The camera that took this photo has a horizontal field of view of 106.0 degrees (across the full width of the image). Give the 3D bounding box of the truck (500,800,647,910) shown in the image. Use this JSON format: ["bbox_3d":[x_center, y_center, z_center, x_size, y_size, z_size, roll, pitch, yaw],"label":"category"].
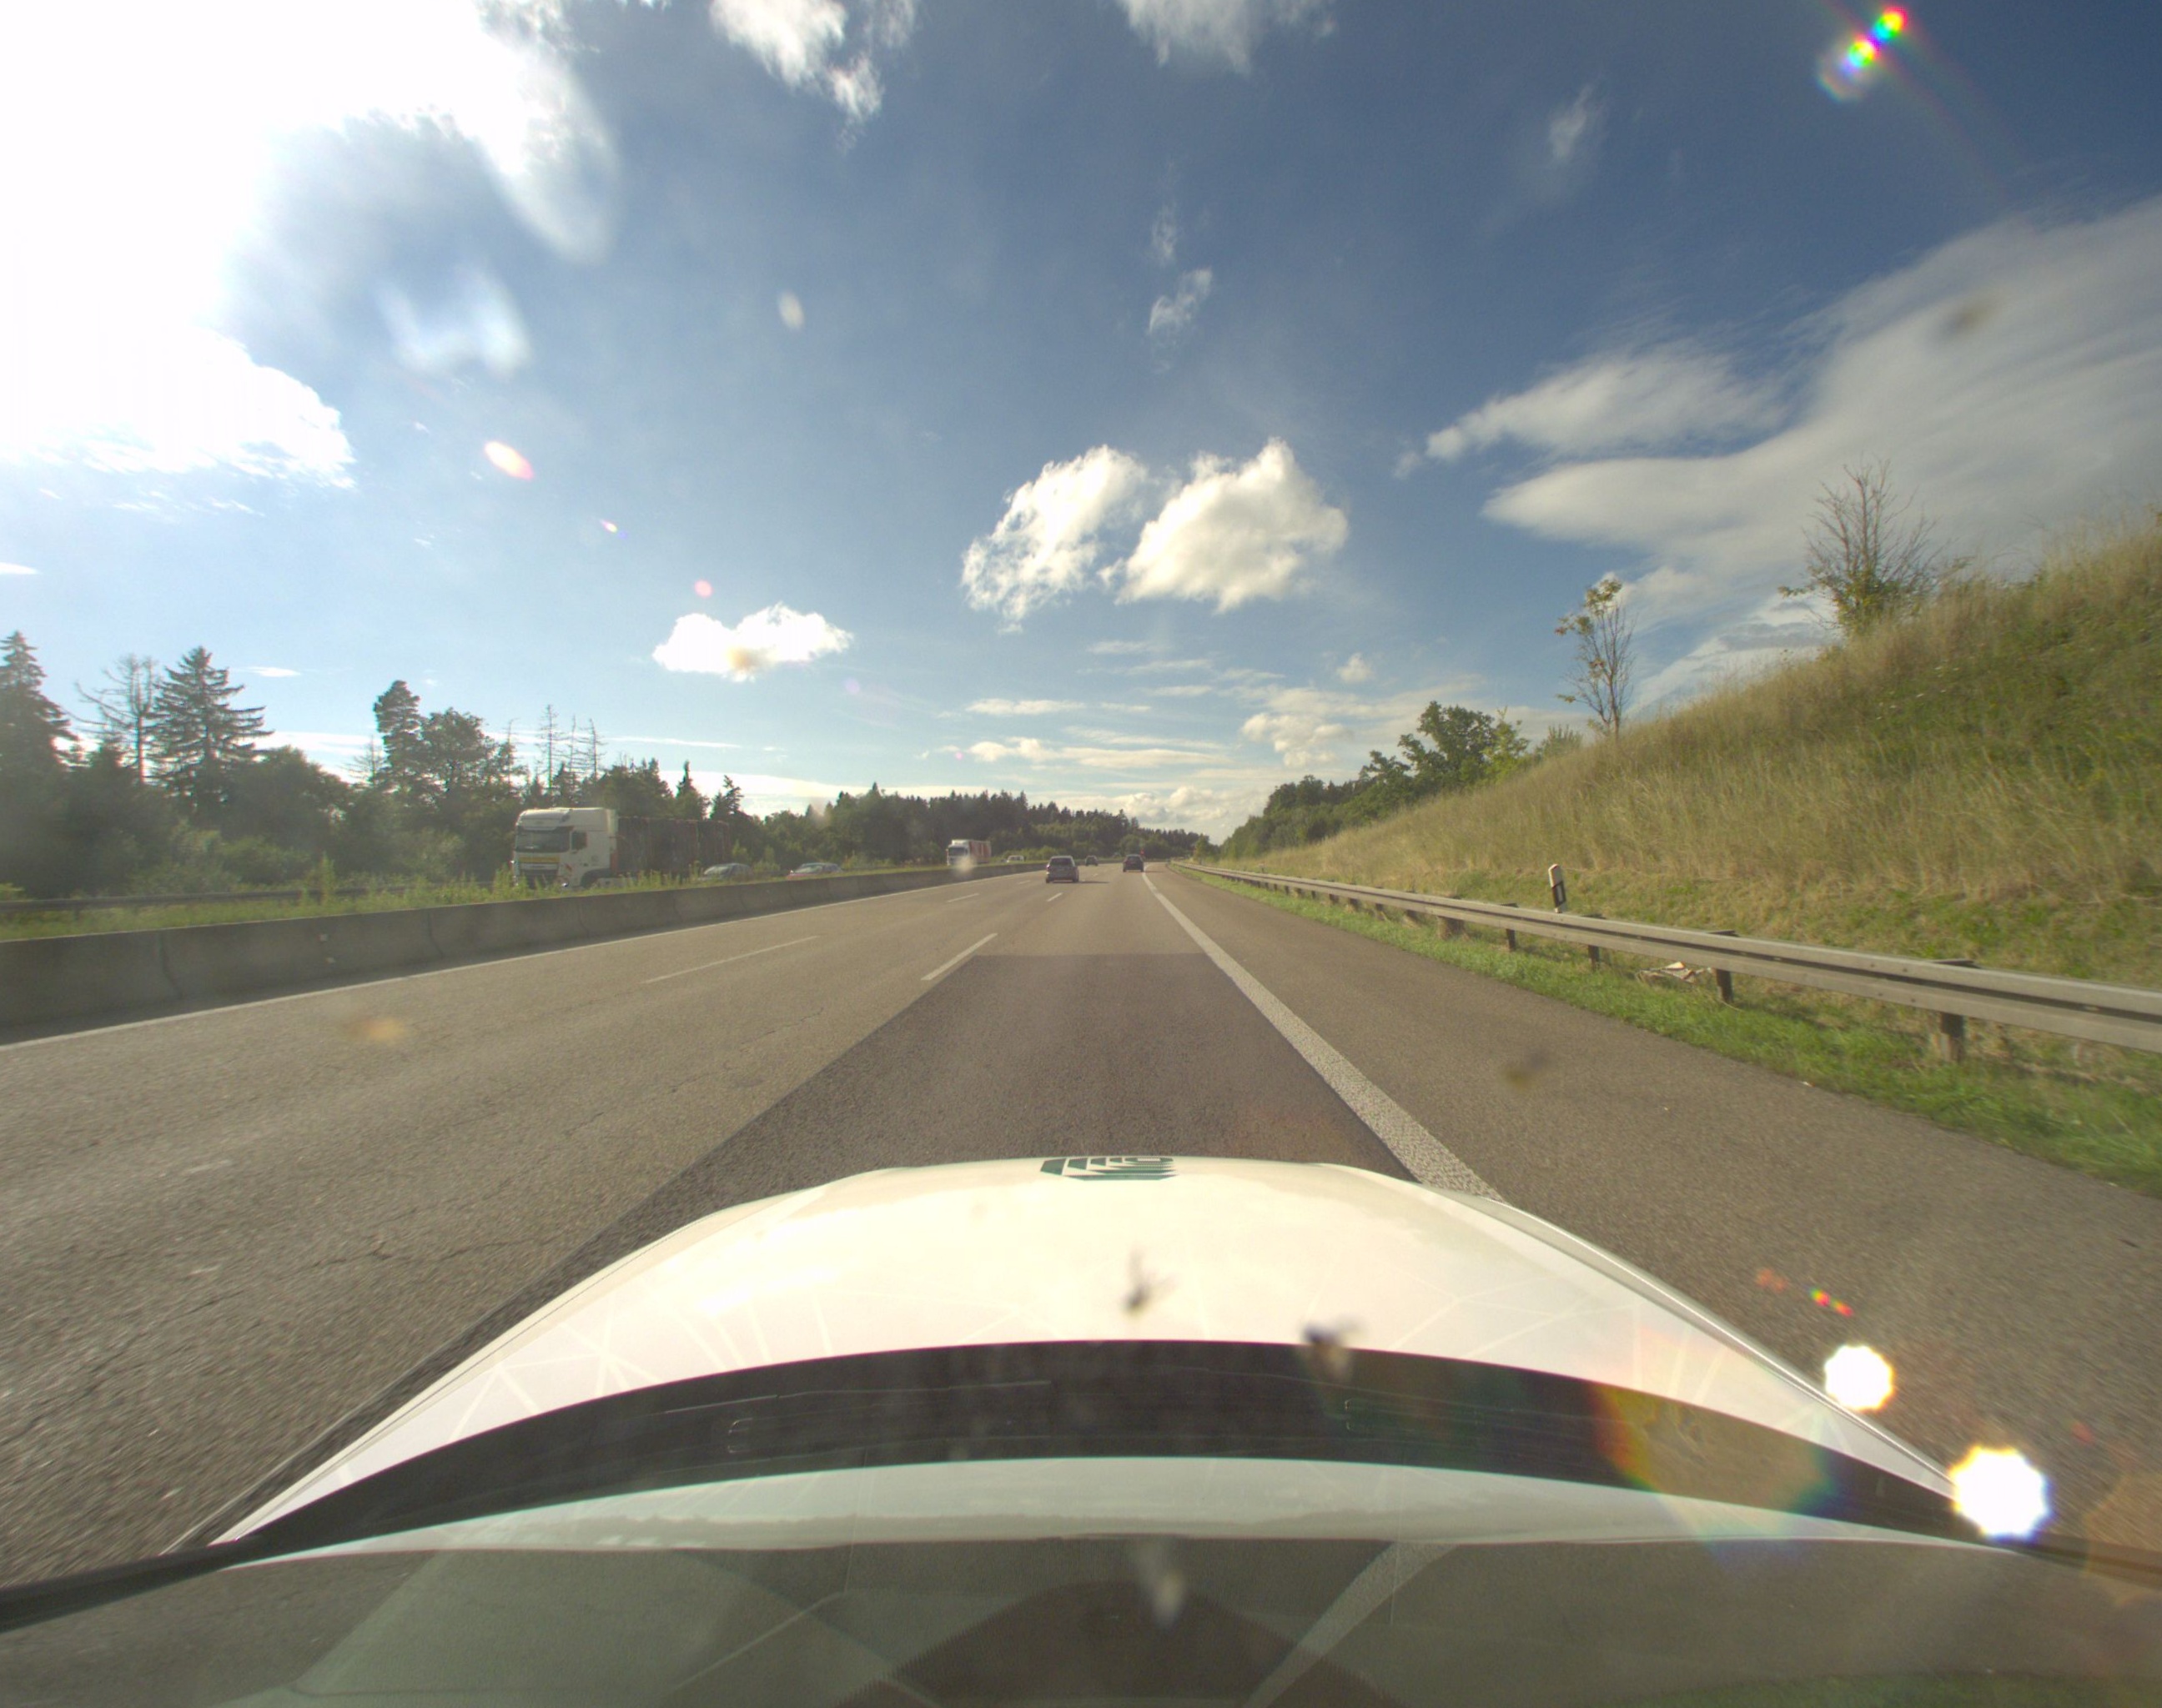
[{"bbox_3d":[-21.789,0.044,35.369,2.791,4.392,5.467,-1,0,2],"label":"truck"}]

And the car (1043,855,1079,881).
[{"bbox_3d":[-1.136,0.802,48.122,1.867,1.497,3.881,-1,0,1],"label":"car"}]

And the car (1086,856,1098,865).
[{"bbox_3d":[1.756,1.016,132.798,1.868,1.497,3.879,-1,0,0],"label":"car"}]

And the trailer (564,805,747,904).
[{"bbox_3d":[-21.517,0.034,42.468,2.791,4.392,12.057,-1,0,2],"label":"trailer"}]

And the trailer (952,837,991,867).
[{"bbox_3d":[-15.534,-0.258,116.729,3.008,4.109,12.805,-1,0,4],"label":"trailer"}]

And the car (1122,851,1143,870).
[{"bbox_3d":[4.816,0.612,76.402,1.866,1.675,3.893,-1,0,3],"label":"car"}]

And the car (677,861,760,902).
[{"bbox_3d":[-17.225,1.247,38.886,1.985,1.802,4.003,-1,0,3],"label":"car"}]

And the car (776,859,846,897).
[{"bbox_3d":[-13.514,1.151,40.969,1.985,1.802,4.003,-1,0,3],"label":"car"}]

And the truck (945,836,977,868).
[{"bbox_3d":[-16.062,-0.278,109.251,3.011,4.109,5.674,-1,0,4],"label":"truck"}]
